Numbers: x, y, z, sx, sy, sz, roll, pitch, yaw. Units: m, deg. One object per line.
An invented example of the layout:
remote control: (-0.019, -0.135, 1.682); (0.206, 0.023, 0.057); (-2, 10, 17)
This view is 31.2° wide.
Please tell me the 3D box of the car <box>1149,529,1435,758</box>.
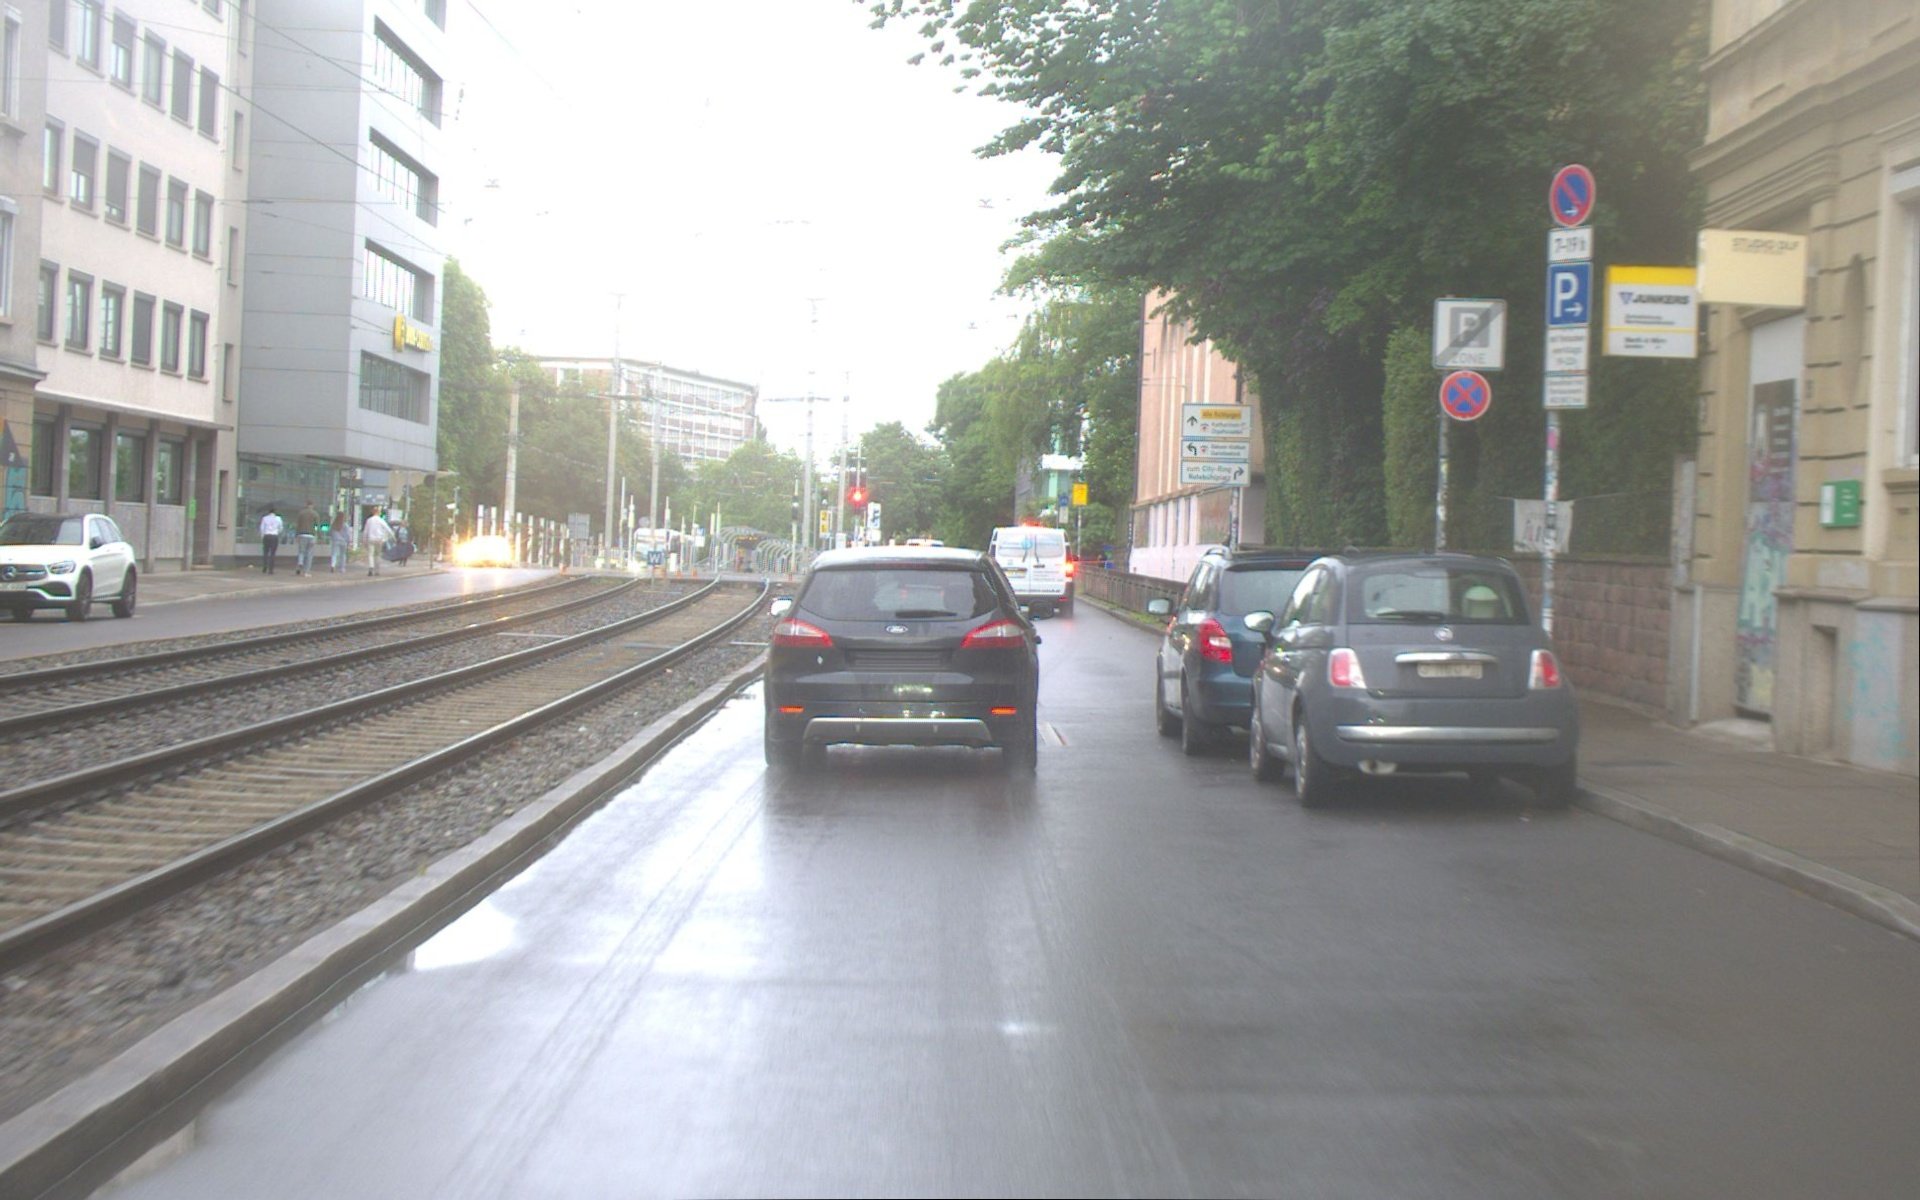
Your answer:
car: (2.433, 0.265, 26.076); (1.642, 1.510, 4.039); (2, 1, -1)

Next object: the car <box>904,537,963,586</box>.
car: (-0.912, -1.327, 120.286); (1.993, 1.588, 4.271); (2, 0, 0)

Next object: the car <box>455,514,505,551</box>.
car: (-20.037, -2.839, 143.543); (1.993, 1.437, 4.001); (2, 1, -8)

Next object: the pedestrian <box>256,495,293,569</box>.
pedestrian: (-17.617, -1.749, 88.410); (0.744, 1.847, 0.839); (2, -1, -1)

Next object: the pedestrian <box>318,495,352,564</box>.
pedestrian: (-17.180, -1.940, 94.535); (0.744, 1.847, 0.839); (2, -1, -1)

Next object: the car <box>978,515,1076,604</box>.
car: (1.414, -0.856, 74.241); (1.993, 1.810, 4.271); (2, 0, 0)

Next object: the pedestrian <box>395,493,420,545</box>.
pedestrian: (-20.059, -2.952, 124.859); (0.744, 1.847, 0.839); (2, -1, -1)

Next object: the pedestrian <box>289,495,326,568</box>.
pedestrian: (-16.785, -1.754, 88.421); (0.744, 1.847, 0.839); (2, -1, -1)

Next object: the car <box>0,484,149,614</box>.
car: (-13.949, -0.803, 52.724); (1.993, 1.833, 5.072); (3, 1, -3)

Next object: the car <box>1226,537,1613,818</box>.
car: (2.741, 0.403, 21.360); (1.738, 1.484, 4.000); (2, 1, -1)

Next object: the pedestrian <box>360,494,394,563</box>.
pedestrian: (-16.092, -1.967, 94.906); (0.744, 1.847, 0.839); (2, -1, -1)

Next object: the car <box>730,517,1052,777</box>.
car: (-0.433, 0.301, 23.953); (1.993, 1.588, 4.271); (2, 0, 0)
